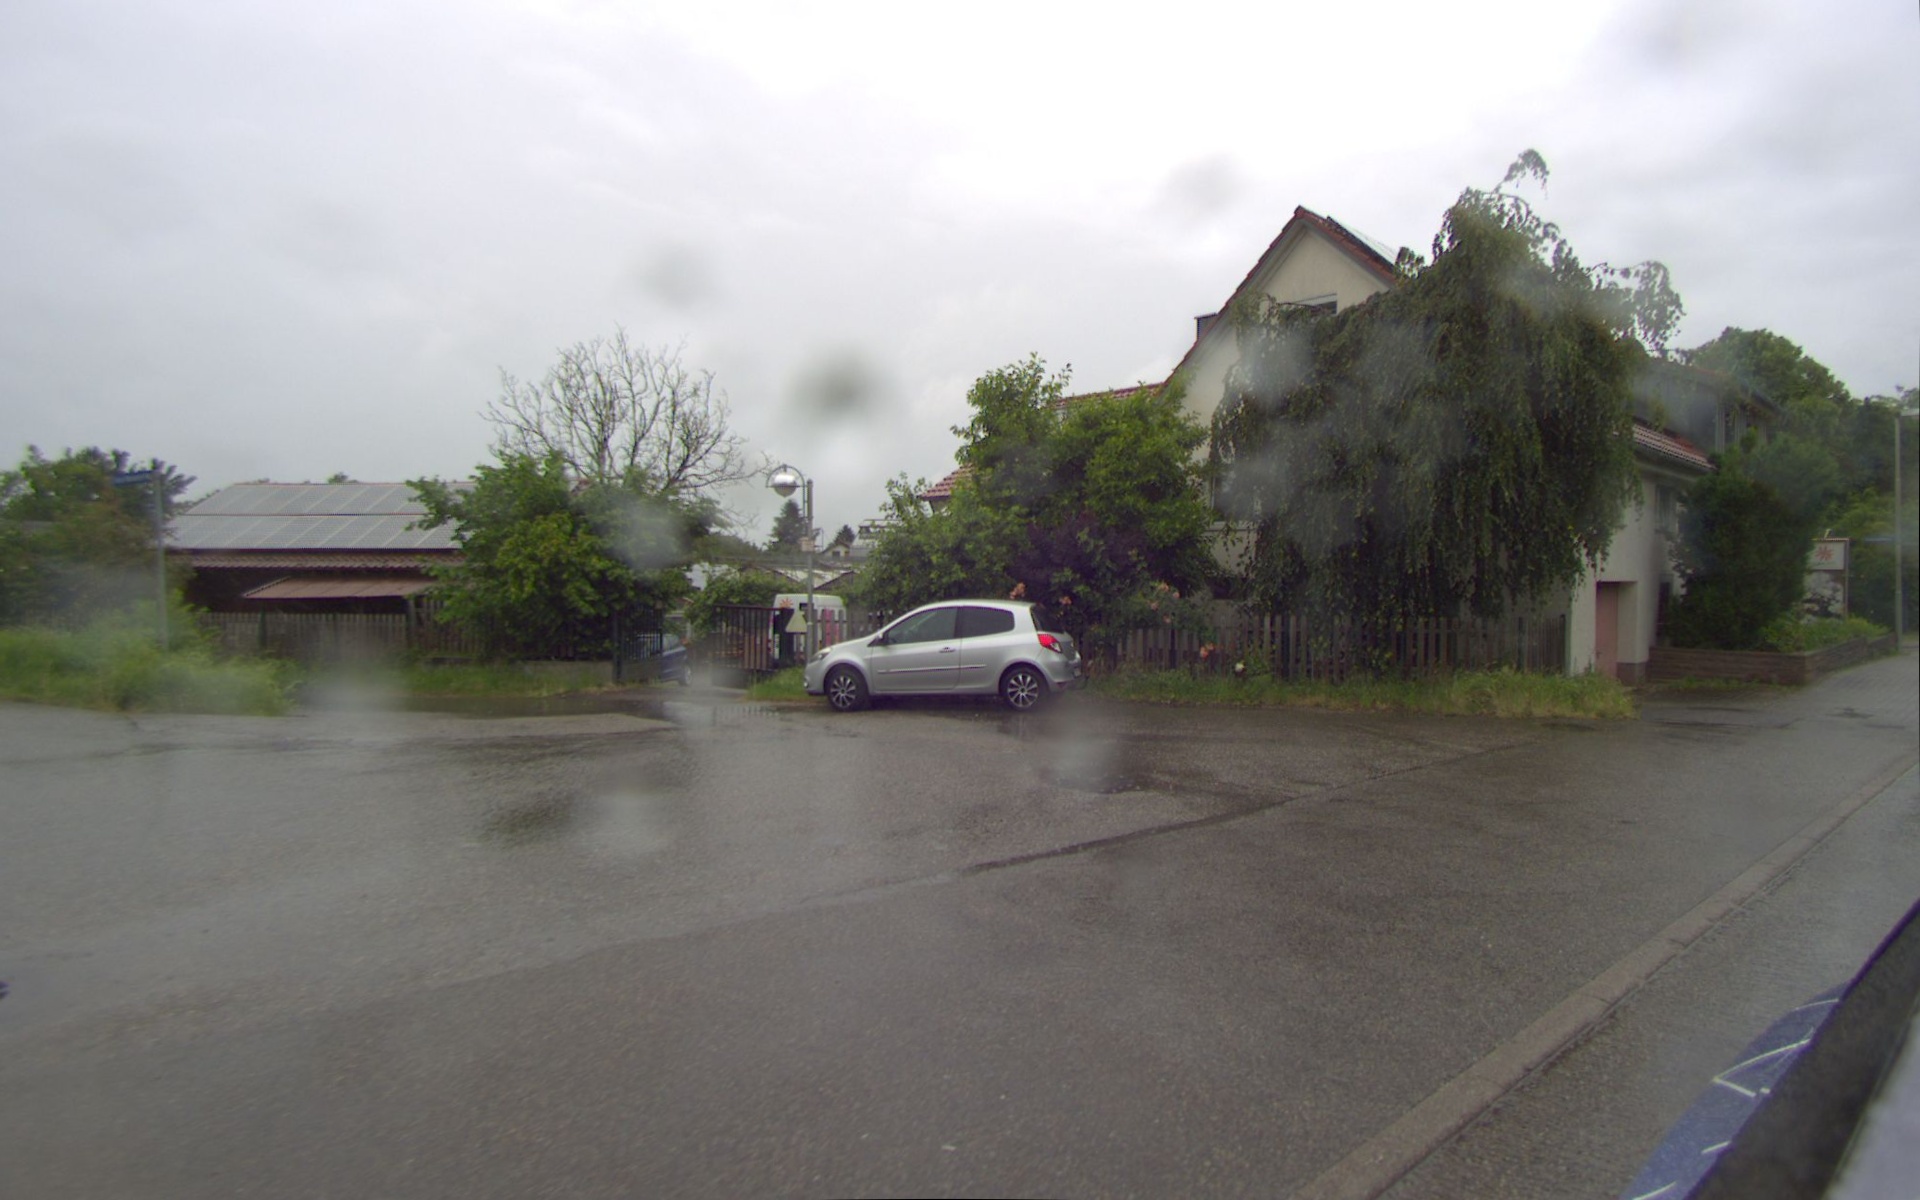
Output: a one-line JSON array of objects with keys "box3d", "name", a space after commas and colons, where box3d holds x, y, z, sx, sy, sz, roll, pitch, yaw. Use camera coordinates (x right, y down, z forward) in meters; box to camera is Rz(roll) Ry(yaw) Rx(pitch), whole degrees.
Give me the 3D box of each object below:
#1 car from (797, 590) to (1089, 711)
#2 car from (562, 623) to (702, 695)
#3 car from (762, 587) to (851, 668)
[{"box3d": [-0.203, 0.661, 14.337, 3.803, 1.551, 1.710, -1, 0, 17], "name": "car"}, {"box3d": [-8.351, 1.449, 26.196, 1.966, 1.570, 3.992, 1, 0, 6], "name": "car"}, {"box3d": [-5.131, 0.851, 34.385, 1.966, 2.543, 3.992, 1, 0, 7], "name": "car"}]
